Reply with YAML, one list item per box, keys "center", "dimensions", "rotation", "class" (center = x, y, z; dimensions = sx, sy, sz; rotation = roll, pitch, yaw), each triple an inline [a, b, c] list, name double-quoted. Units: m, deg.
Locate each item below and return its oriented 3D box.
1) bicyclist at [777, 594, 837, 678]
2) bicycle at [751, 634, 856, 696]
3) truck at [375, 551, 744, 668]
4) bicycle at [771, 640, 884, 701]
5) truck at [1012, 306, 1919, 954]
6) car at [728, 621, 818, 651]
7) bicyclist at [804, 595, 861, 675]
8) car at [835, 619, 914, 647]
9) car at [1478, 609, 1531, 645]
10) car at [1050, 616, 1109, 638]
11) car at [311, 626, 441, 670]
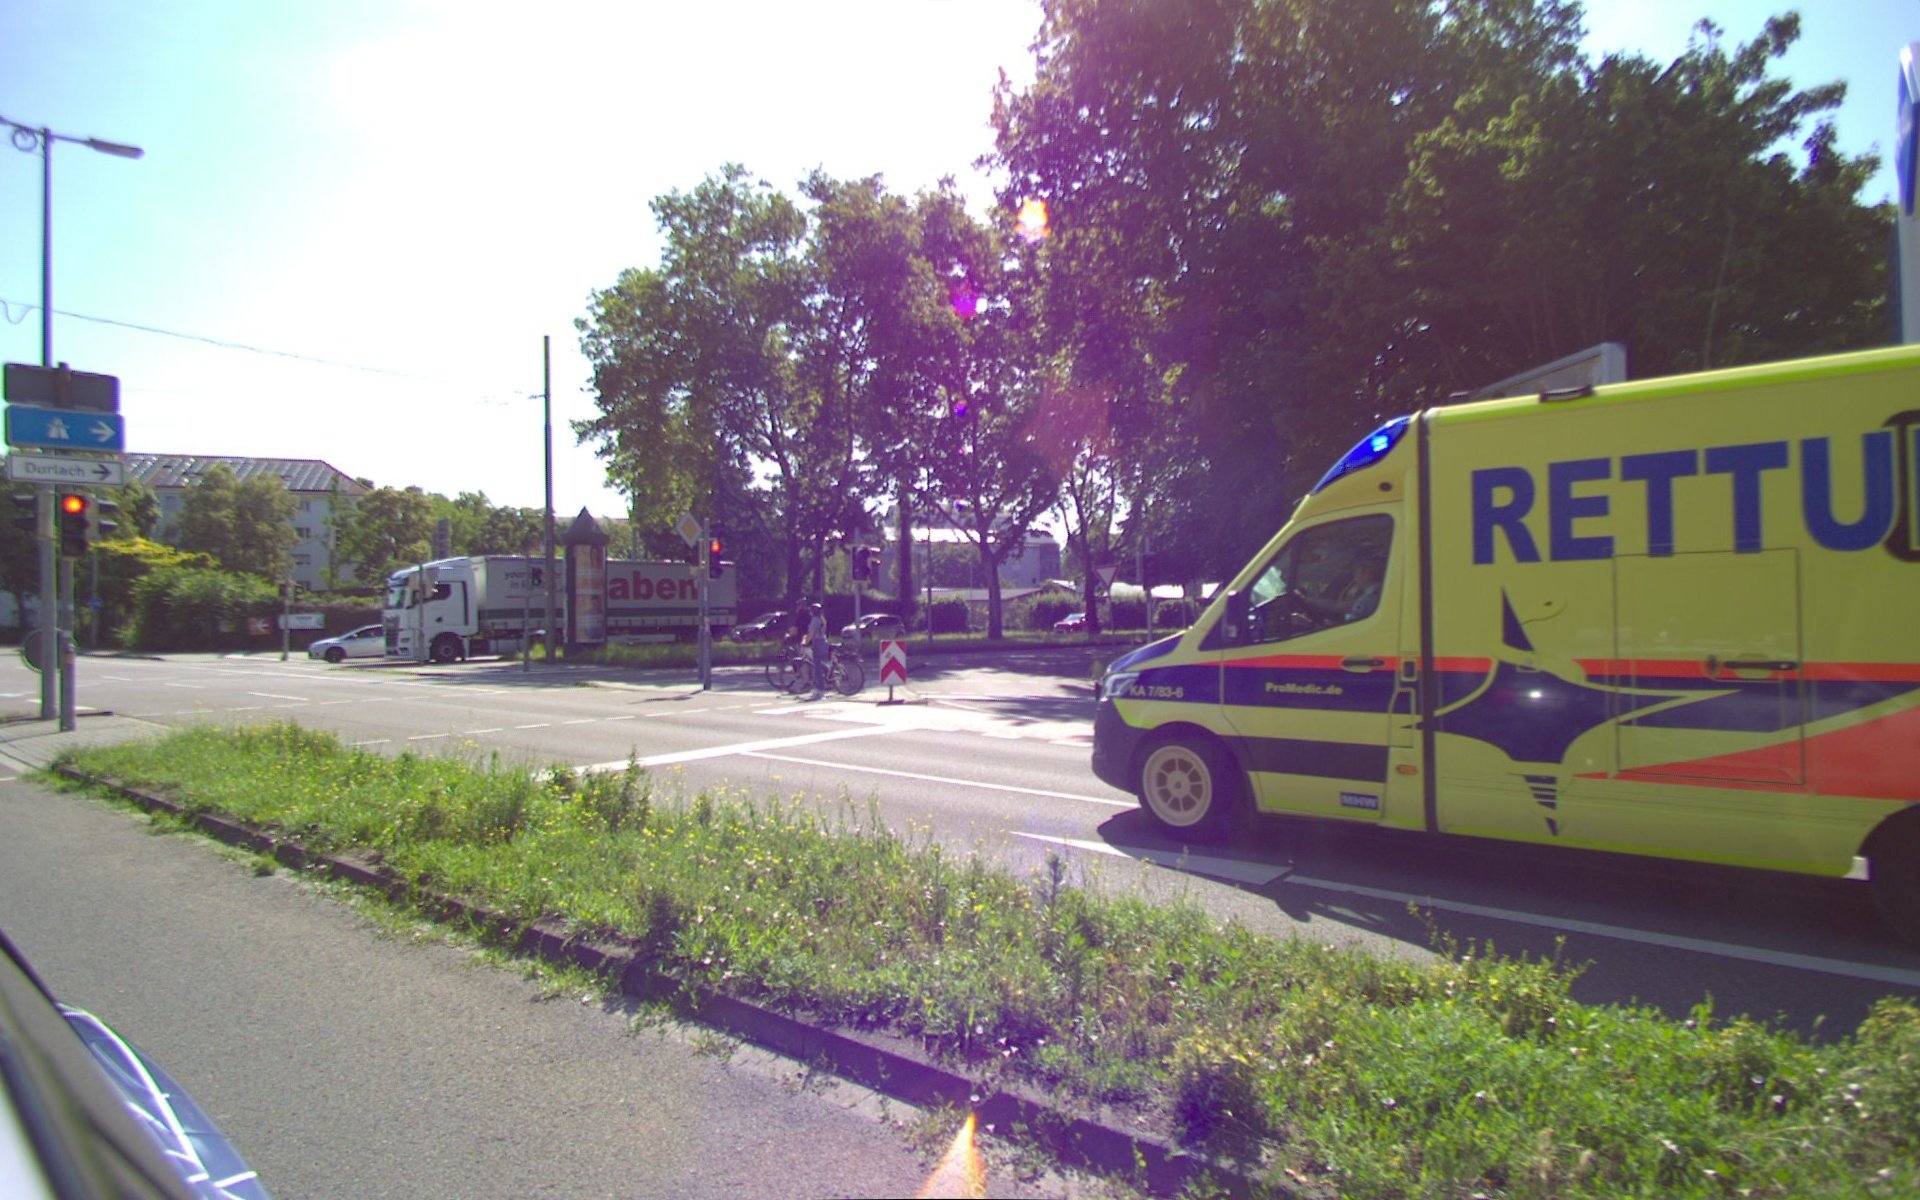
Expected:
- center: [-3.137, 0.733, 20.742]
  dimensions: [0.825, 1.687, 0.827]
  rotation: [-3, -2, 37]
  class: "bicyclist"
- center: [-3.241, 1.298, 20.832]
  dimensions: [2.209, 1.184, 0.928]
  rotation: [-1, -2, 40]
  class: "bicycle"
- center: [-15.495, 0.444, 41.074]
  dimensions: [2.855, 4.038, 14.099]
  rotation: [-2, -2, 43]
  class: "truck"
- center: [-2.488, 1.295, 18.891]
  dimensions: [2.066, 1.066, 0.745]
  rotation: [-1, -1, 29]
  class: "bicycle"
- center: [3.908, 0.159, 5.783]
  dimensions: [7.354, 2.688, 2.306]
  rotation: [-2, -2, 40]
  class: "truck"
- center: [-9.606, 1.839, 52.100]
  dimensions: [4.306, 1.379, 1.757]
  rotation: [-1, -2, -44]
  class: "car"
- center: [-2.363, 0.649, 18.782]
  dimensions: [0.736, 1.431, 0.703]
  rotation: [-3, -2, 29]
  class: "bicyclist"
- center: [-4.799, 1.857, 57.157]
  dimensions: [4.306, 1.379, 1.757]
  rotation: [-1, -2, -44]
  class: "car"
- center: [36.184, 1.756, 67.213]
  dimensions: [2.000, 2.334, 4.593]
  rotation: [-2, -1, 42]
  class: "car"
- center: [8.444, 1.874, 71.062]
  dimensions: [4.306, 1.379, 1.757]
  rotation: [-1, -2, -44]
  class: "car"
- center: [-22.850, 1.862, 39.682]
  dimensions: [4.323, 1.522, 1.761]
  rotation: [-1, -2, -31]
  class: "car"
